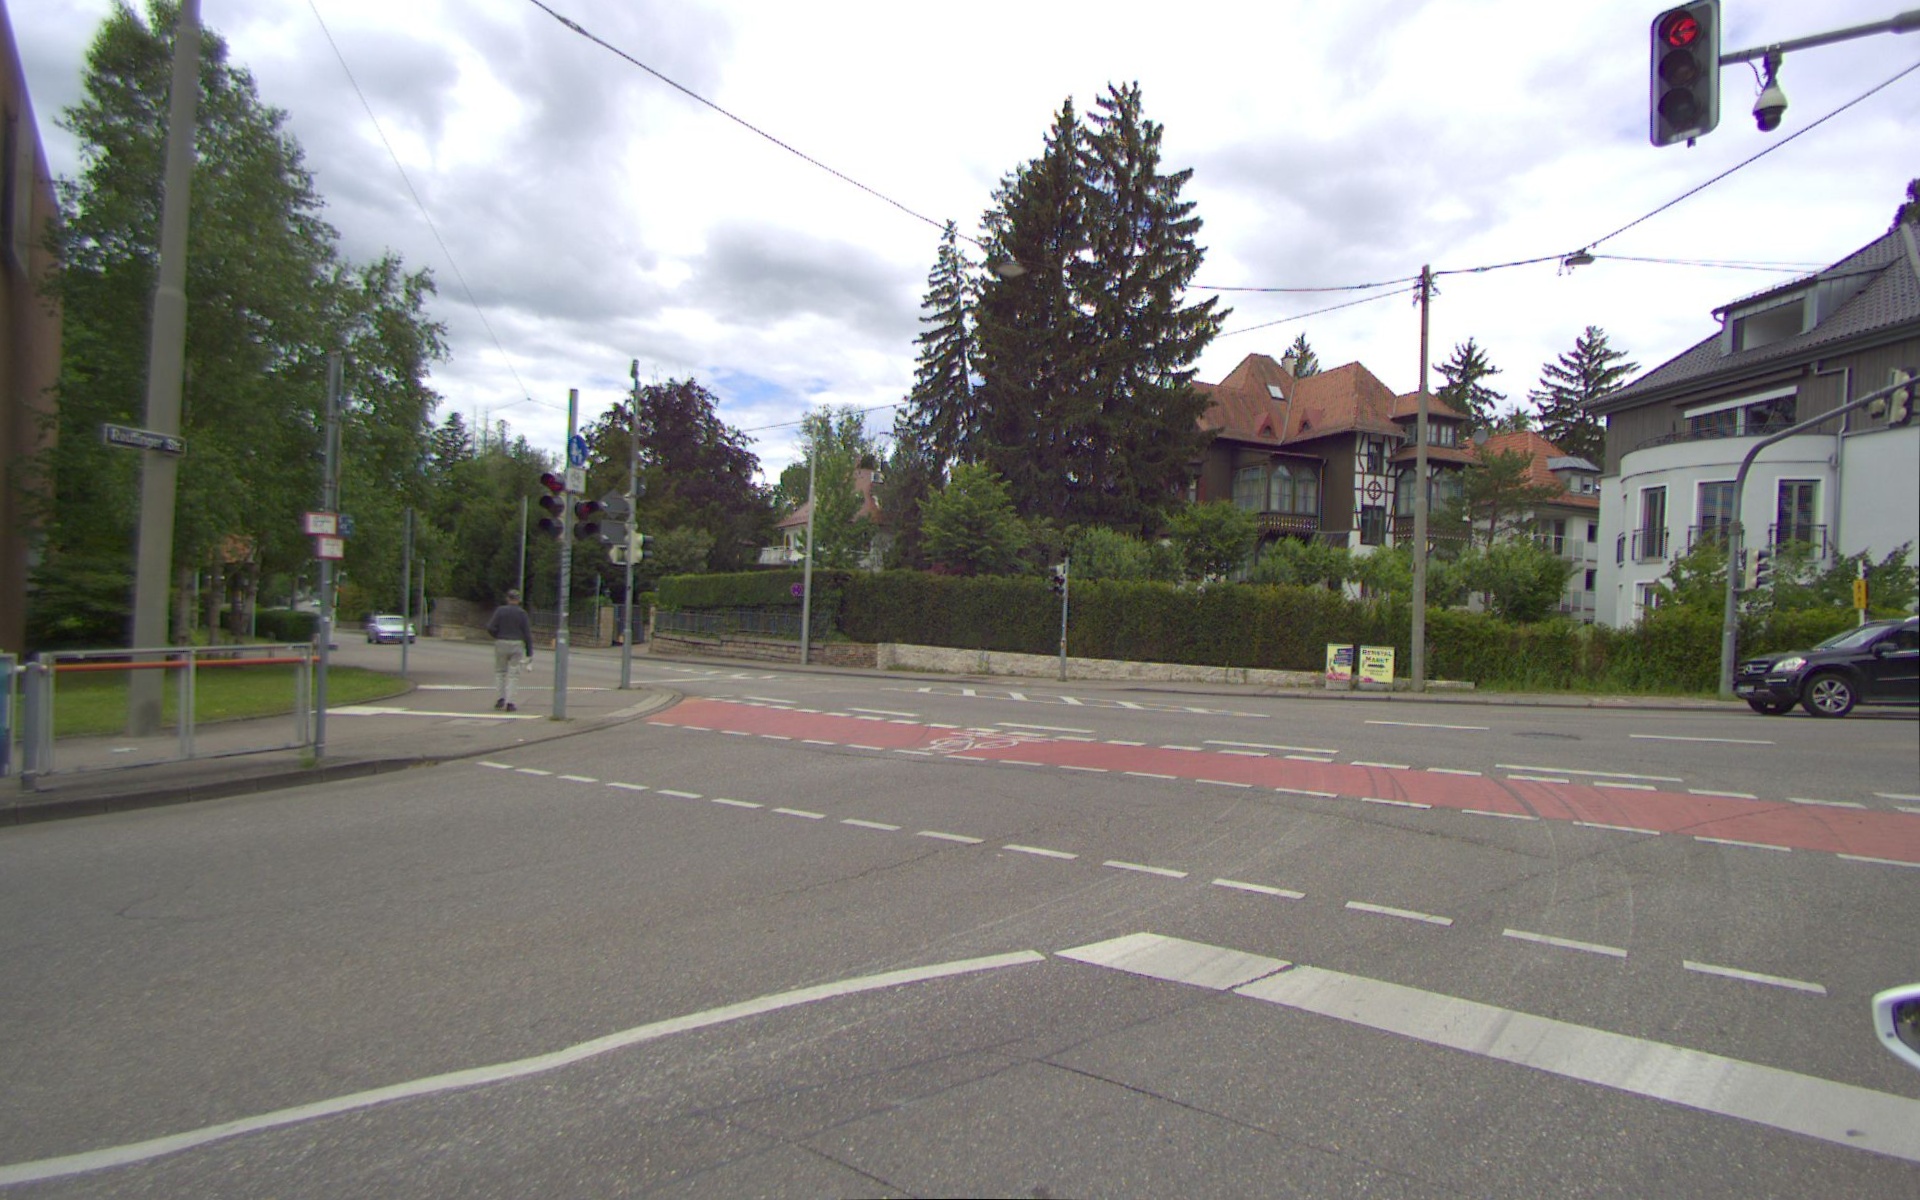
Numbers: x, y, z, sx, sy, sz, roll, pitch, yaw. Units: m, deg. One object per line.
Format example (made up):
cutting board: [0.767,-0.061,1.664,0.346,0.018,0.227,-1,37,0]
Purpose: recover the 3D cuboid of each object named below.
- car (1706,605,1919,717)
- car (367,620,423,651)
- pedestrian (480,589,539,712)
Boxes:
car: [16.928,1.112,18.305,5.037,1.905,1.920,1,-2,9]
car: [-29.206,1.778,51.862,1.696,1.432,4.372,1,0,-41]
pedestrian: [-6.289,0.689,14.060,0.673,1.655,0.737,0,-1,-18]
